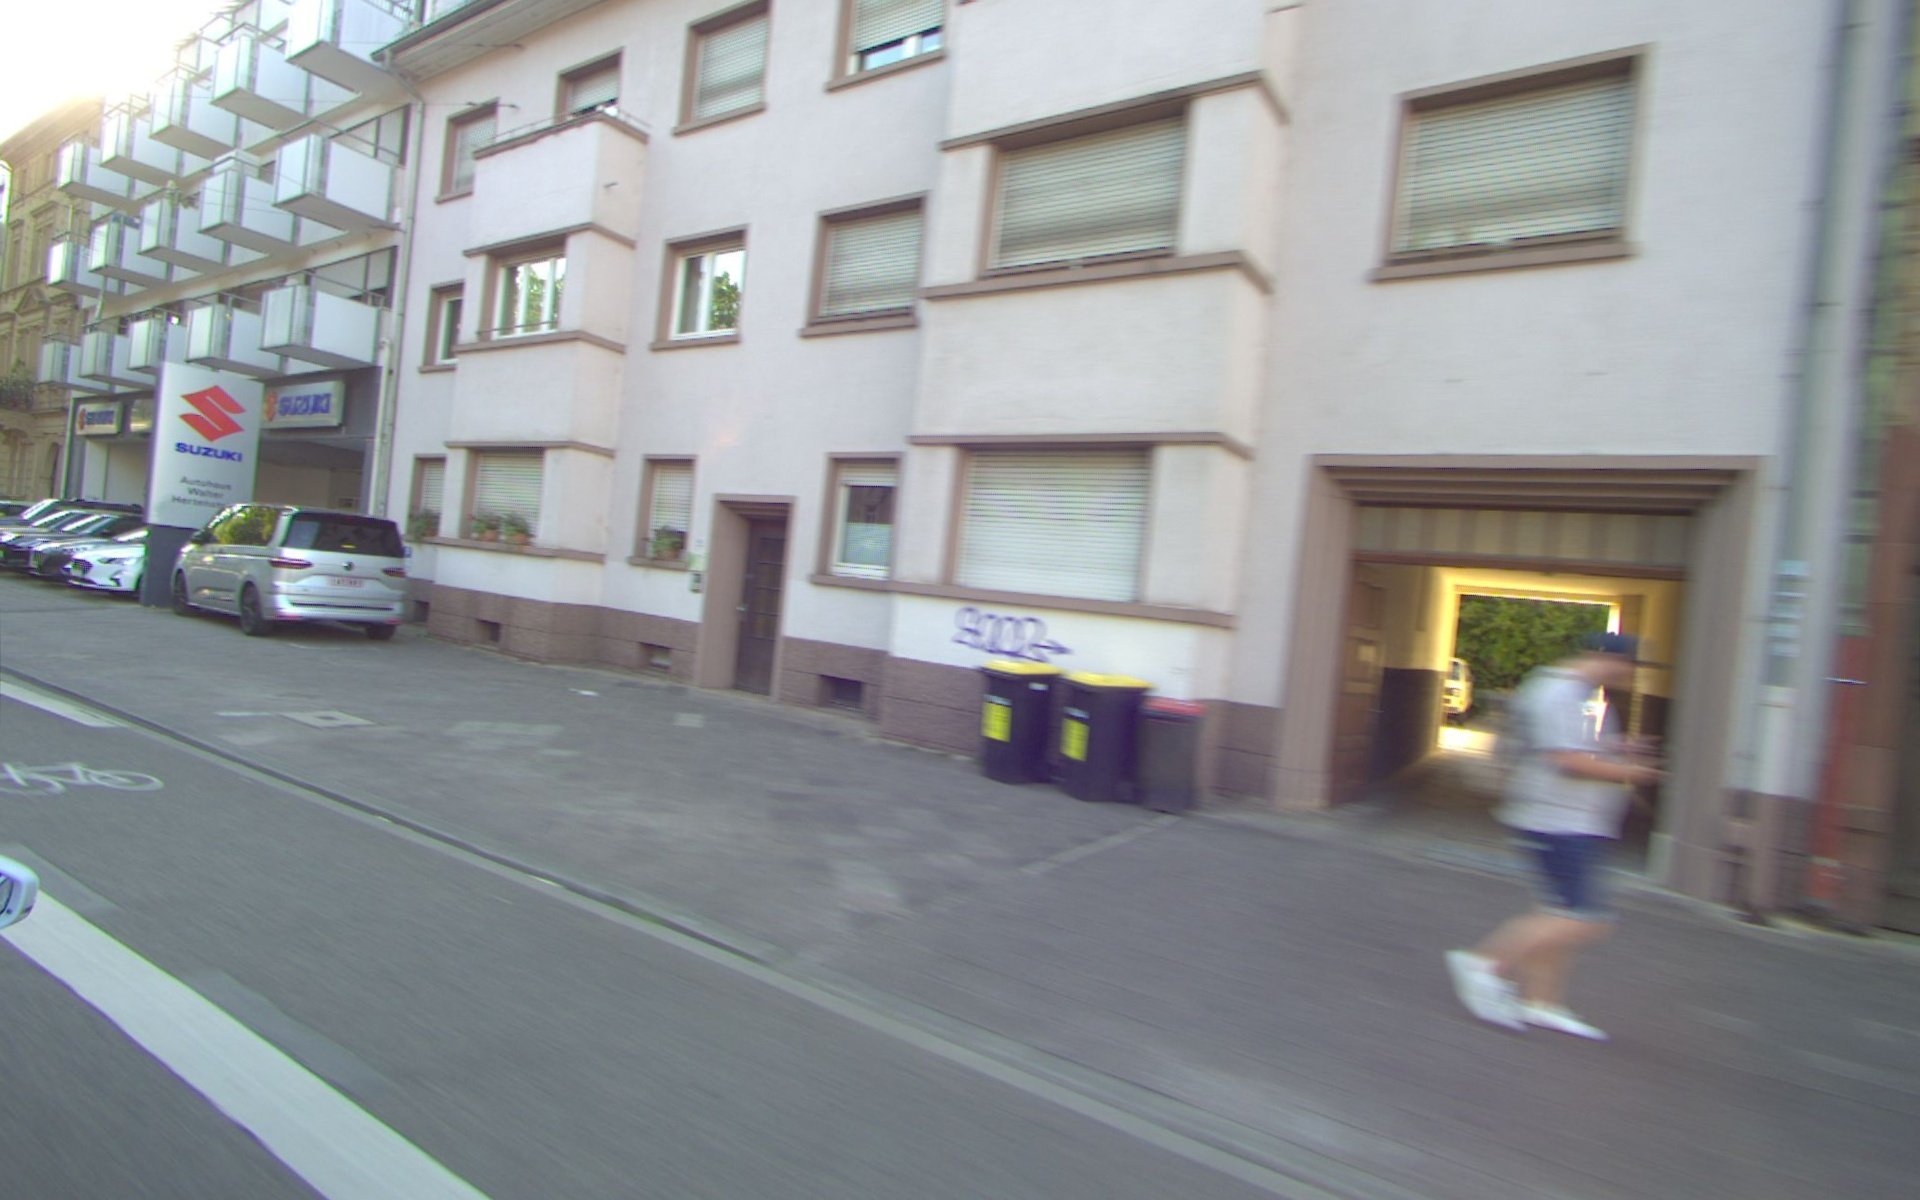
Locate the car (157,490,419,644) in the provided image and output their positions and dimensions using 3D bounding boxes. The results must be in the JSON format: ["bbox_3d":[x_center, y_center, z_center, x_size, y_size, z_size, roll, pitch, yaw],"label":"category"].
[{"bbox_3d":[-10.604,-0.570,15.719,4.828,1.972,1.891,5,0,38],"label":"car"}]

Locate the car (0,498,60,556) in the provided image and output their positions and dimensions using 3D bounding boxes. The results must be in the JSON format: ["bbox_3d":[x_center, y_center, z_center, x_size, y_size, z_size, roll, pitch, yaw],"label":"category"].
[{"bbox_3d":[-28.782,-2.277,29.349,1.419,1.565,3.421,6,-1,32],"label":"car"}]

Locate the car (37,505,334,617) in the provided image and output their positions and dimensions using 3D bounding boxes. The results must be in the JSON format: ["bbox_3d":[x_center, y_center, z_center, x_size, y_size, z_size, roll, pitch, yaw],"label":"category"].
[{"bbox_3d":[-14.058,-0.648,18.492,1.881,1.519,3.817,8,0,30],"label":"car"}]

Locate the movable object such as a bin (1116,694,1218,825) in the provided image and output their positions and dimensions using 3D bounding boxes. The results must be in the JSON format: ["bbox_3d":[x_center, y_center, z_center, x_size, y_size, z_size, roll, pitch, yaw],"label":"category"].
[{"bbox_3d":[1.740,1.311,8.444,0.576,0.981,0.553,6,0,37],"label":"movable object such as a bin"}]

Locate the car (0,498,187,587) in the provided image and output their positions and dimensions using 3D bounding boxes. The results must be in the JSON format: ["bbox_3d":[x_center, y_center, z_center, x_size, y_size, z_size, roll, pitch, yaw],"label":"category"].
[{"bbox_3d":[-19.771,-1.291,22.220,1.829,1.559,3.822,7,0,33],"label":"car"}]

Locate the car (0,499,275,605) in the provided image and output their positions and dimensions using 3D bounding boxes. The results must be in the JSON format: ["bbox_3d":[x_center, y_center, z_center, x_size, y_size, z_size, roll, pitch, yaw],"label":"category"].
[{"bbox_3d":[-16.147,-0.888,19.850,1.780,1.532,3.871,7,0,33],"label":"car"}]

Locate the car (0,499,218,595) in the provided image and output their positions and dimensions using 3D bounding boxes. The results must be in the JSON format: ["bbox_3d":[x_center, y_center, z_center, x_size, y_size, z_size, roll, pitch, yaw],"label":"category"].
[{"bbox_3d":[-17.887,-1.072,20.968,1.712,1.544,3.422,7,0,31],"label":"car"}]

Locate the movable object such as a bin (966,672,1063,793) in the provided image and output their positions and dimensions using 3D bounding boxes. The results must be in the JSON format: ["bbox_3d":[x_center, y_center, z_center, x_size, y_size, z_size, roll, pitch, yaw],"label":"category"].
[{"bbox_3d":[0.495,1.179,9.077,0.576,0.981,0.553,6,0,37],"label":"movable object such as a bin"}]

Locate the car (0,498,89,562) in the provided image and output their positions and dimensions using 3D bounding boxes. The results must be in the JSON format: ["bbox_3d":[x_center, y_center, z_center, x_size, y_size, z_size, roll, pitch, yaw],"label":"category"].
[{"bbox_3d":[-26.946,-2.064,28.229,1.731,1.537,3.417,5,-1,37],"label":"car"}]

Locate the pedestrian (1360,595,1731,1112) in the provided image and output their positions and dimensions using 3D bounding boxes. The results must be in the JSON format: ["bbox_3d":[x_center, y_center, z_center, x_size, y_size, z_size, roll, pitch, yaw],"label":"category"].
[{"bbox_3d":[2.507,0.963,4.370,1.132,1.835,0.829,6,0,34],"label":"pedestrian"}]

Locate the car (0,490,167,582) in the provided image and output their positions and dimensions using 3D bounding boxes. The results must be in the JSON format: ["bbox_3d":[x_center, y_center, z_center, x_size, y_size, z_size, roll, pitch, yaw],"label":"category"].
[{"bbox_3d":[-21.208,-1.525,23.688,1.656,1.741,3.580,8,1,37],"label":"car"}]

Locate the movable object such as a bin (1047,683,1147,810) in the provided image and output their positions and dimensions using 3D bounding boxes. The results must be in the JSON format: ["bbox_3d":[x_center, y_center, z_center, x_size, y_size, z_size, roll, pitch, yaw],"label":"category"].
[{"bbox_3d":[1.181,1.244,8.669,0.576,0.981,0.553,6,0,37],"label":"movable object such as a bin"}]
